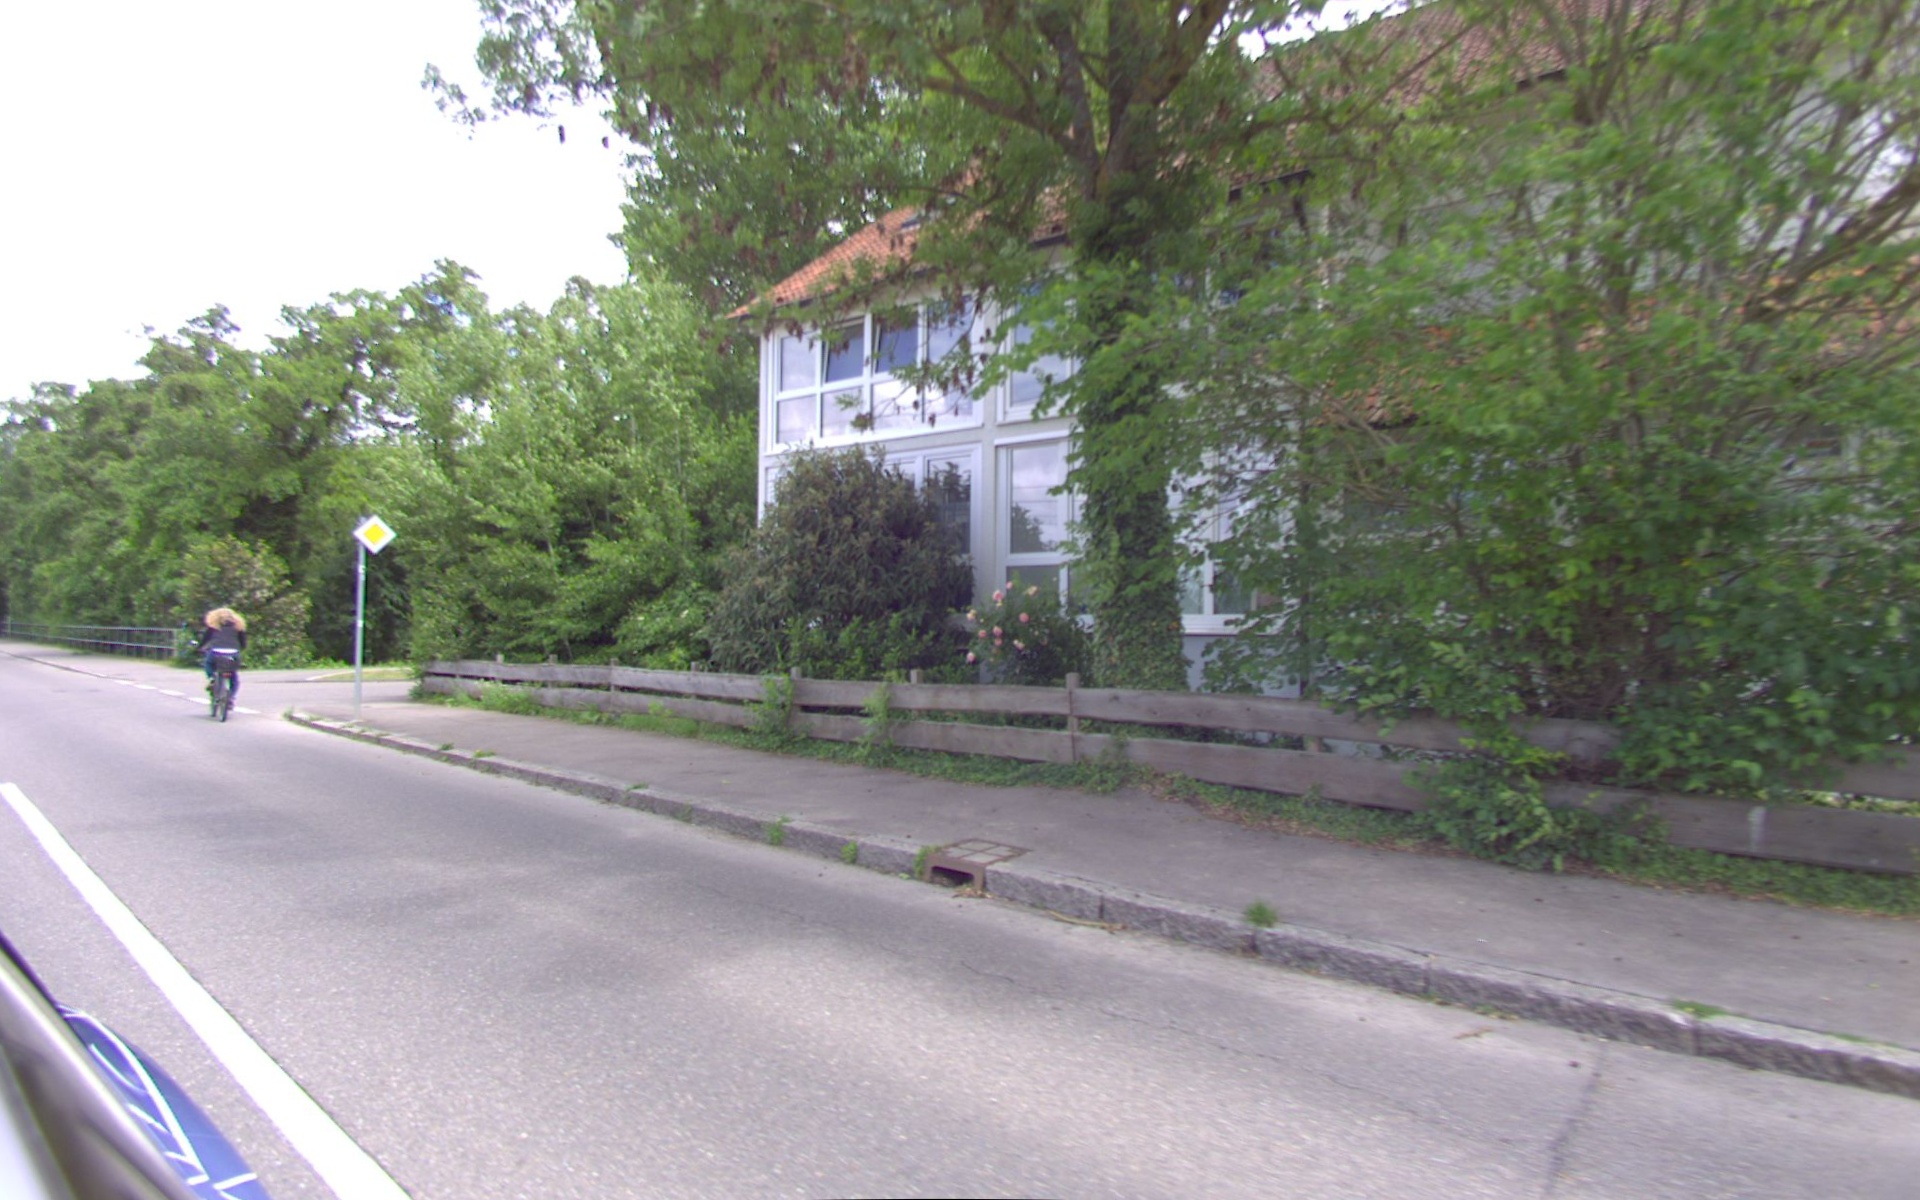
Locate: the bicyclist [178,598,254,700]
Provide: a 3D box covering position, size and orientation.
[{"bbox_3d":[-11.725,0.761,15.952,0.869,1.561,0.770,-1,-3,42],"label":"bicyclist"}]

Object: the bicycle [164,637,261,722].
[{"bbox_3d":[-11.866,1.218,16.035,2.308,1.236,0.747,-1,-4,42],"label":"bicycle"}]
